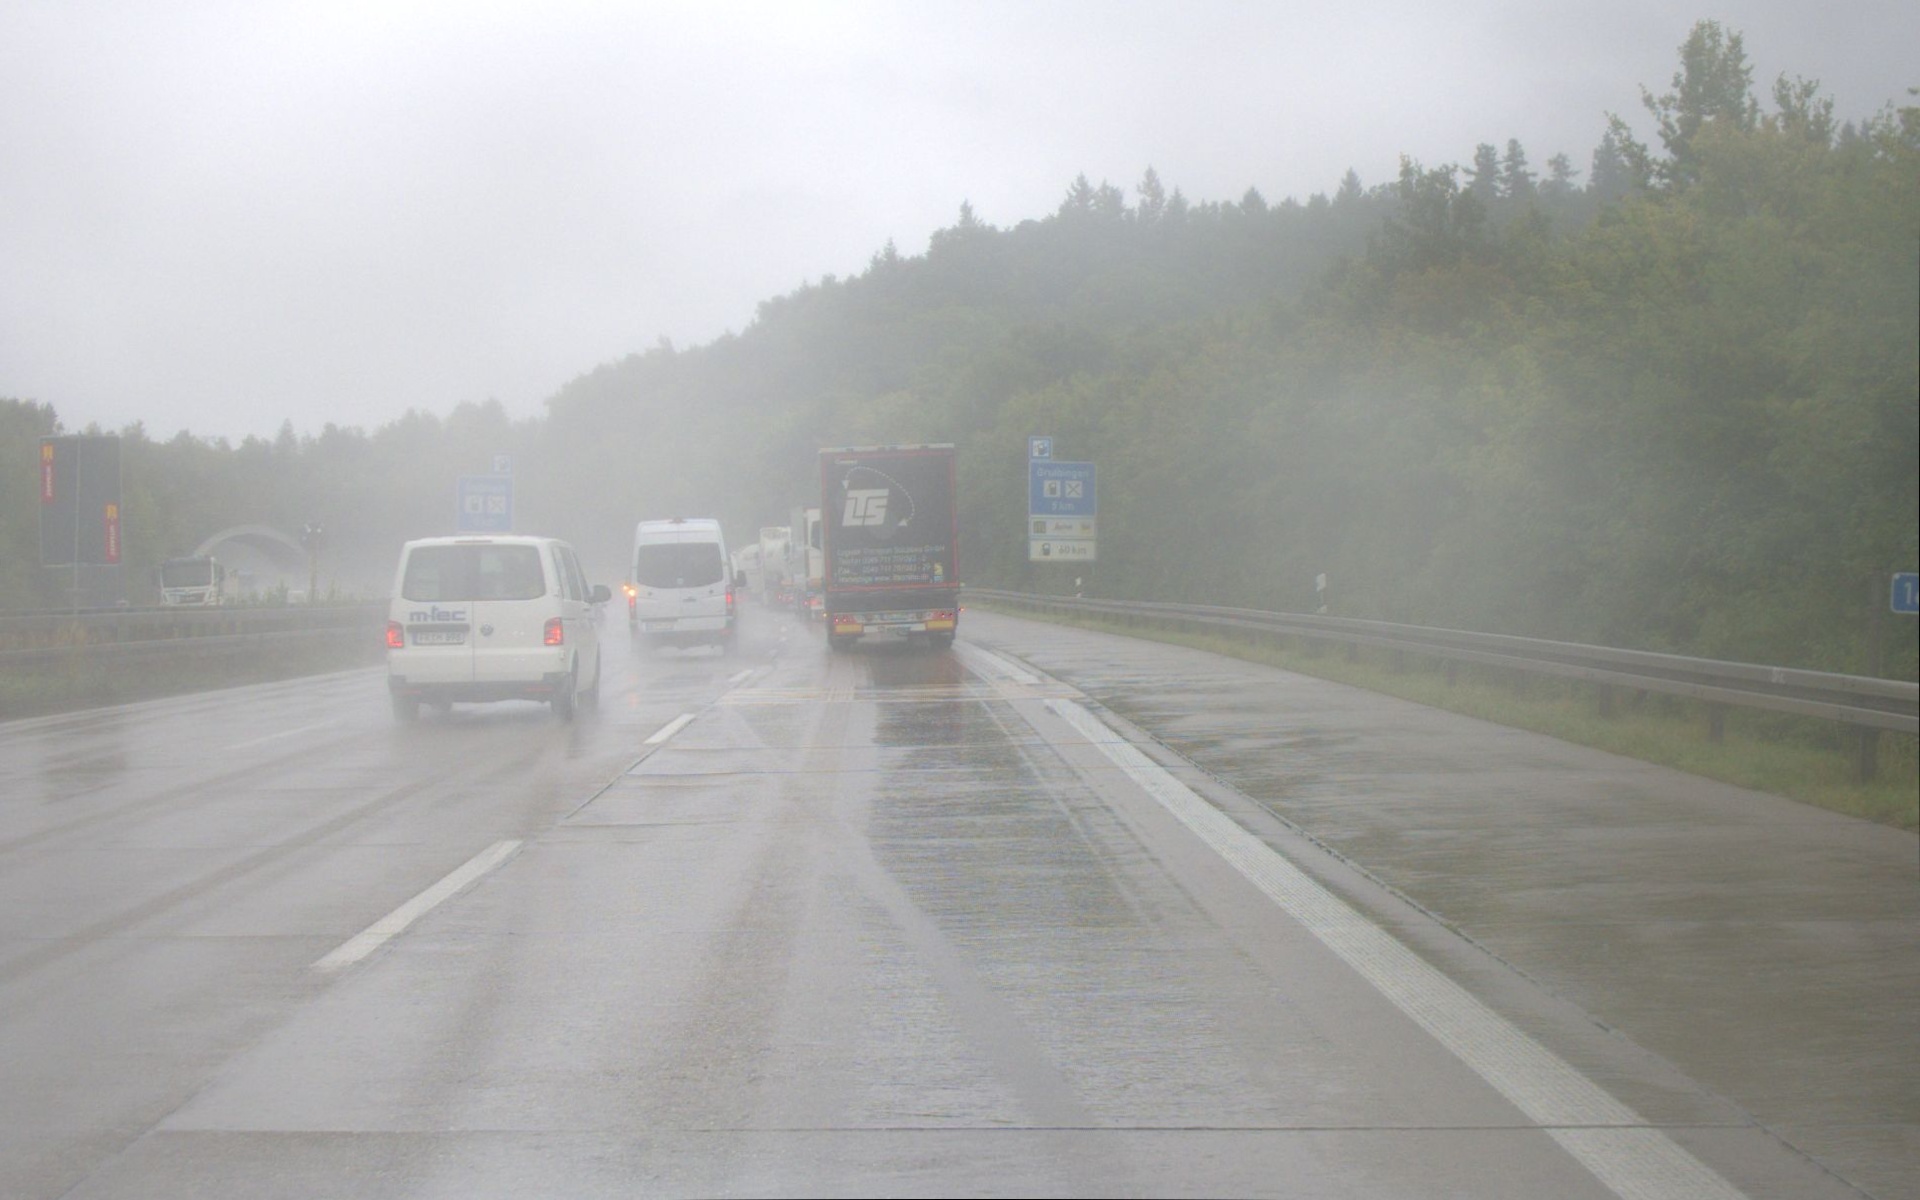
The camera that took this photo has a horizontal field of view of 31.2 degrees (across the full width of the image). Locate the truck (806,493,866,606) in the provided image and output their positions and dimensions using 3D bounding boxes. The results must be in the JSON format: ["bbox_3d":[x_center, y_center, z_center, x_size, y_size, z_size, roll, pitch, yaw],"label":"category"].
[{"bbox_3d":[-4.285,-1.743,118.998,1.993,3.793,6.734,0,1,-2],"label":"truck"}]

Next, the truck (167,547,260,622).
[{"bbox_3d":[-31.001,-0.691,143.044,2.297,3.008,7.923,0,1,-1],"label":"truck"}]

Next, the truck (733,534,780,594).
[{"bbox_3d":[-11.004,-1.942,185.597,1.993,3.159,6.735,0,1,-8],"label":"truck"}]

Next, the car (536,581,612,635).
[{"bbox_3d":[-10.366,0.212,92.468,1.740,1.383,4.322,1,0,-3],"label":"car"}]

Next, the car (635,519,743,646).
[{"bbox_3d":[-5.225,-0.352,65.792,1.899,2.326,5.252,0,1,-6],"label":"car"}]

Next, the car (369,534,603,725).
[{"bbox_3d":[-4.995,0.277,36.856,1.899,1.888,5.043,1,0,-1],"label":"car"}]

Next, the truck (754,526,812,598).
[{"bbox_3d":[-7.944,-1.712,153.971,1.993,3.159,6.735,0,1,-8],"label":"truck"}]

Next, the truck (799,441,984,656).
[{"bbox_3d":[-1.428,-1.154,69.557,3.385,3.954,8.668,-2,2,-2],"label":"truck"}]
